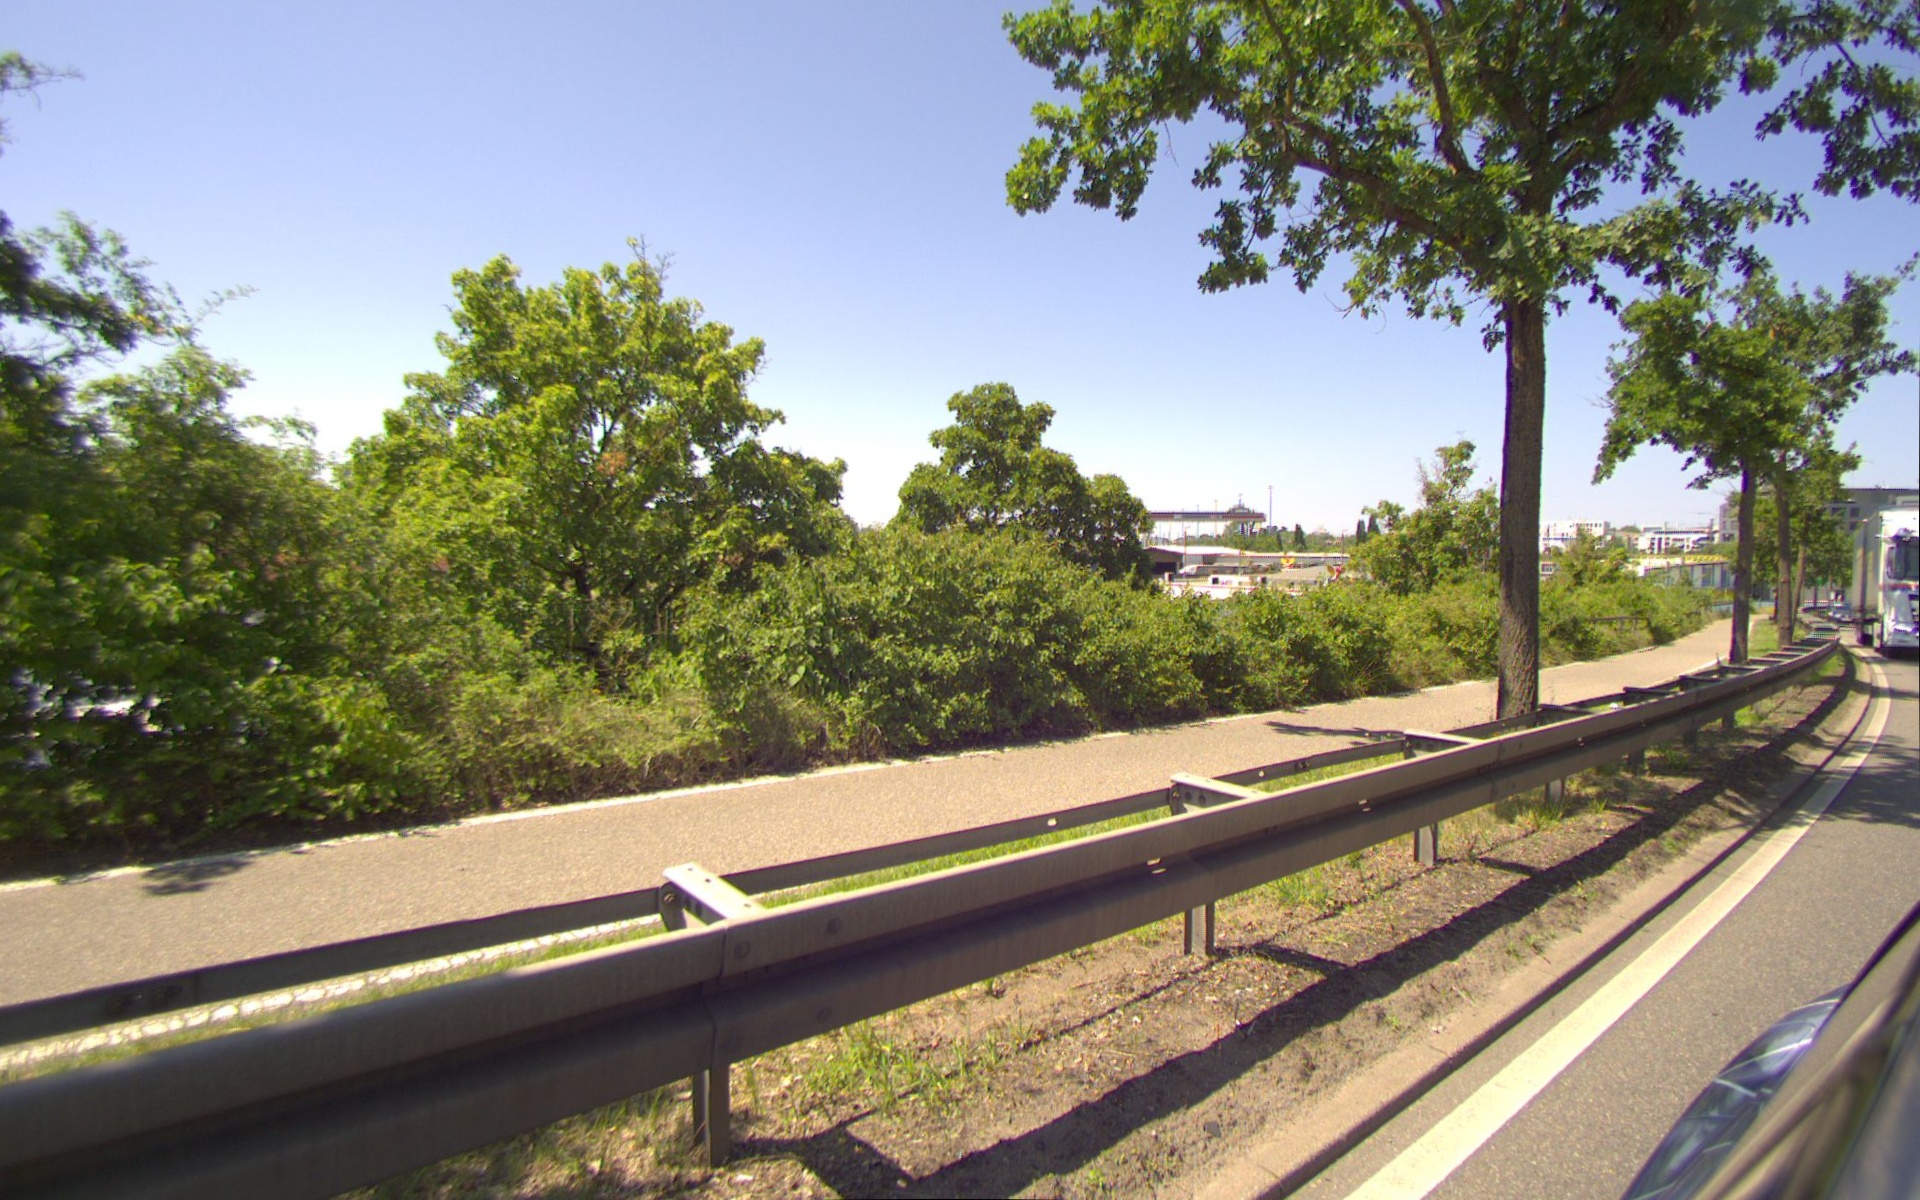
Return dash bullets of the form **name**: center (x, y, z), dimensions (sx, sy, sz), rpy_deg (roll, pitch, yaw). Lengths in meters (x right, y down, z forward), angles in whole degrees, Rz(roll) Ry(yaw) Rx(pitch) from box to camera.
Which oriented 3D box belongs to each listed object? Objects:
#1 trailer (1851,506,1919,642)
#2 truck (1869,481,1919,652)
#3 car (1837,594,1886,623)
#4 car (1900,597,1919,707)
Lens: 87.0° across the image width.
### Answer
- **trailer**: center (34.693, -0.859, 36.895), dimensions (2.869, 4.267, 13.806), rpy_deg (1, 1, 40)
- **truck**: center (27.729, -0.848, 28.386), dimensions (2.846, 4.322, 8.691), rpy_deg (1, 0, 39)
- **car**: center (52.364, 0.471, 58.762), dimensions (1.970, 1.596, 3.937), rpy_deg (1, 1, 44)
- **car**: center (14.408, 0.685, 13.919), dimensions (3.651, 1.446, 1.815), rpy_deg (0, 1, -41)
